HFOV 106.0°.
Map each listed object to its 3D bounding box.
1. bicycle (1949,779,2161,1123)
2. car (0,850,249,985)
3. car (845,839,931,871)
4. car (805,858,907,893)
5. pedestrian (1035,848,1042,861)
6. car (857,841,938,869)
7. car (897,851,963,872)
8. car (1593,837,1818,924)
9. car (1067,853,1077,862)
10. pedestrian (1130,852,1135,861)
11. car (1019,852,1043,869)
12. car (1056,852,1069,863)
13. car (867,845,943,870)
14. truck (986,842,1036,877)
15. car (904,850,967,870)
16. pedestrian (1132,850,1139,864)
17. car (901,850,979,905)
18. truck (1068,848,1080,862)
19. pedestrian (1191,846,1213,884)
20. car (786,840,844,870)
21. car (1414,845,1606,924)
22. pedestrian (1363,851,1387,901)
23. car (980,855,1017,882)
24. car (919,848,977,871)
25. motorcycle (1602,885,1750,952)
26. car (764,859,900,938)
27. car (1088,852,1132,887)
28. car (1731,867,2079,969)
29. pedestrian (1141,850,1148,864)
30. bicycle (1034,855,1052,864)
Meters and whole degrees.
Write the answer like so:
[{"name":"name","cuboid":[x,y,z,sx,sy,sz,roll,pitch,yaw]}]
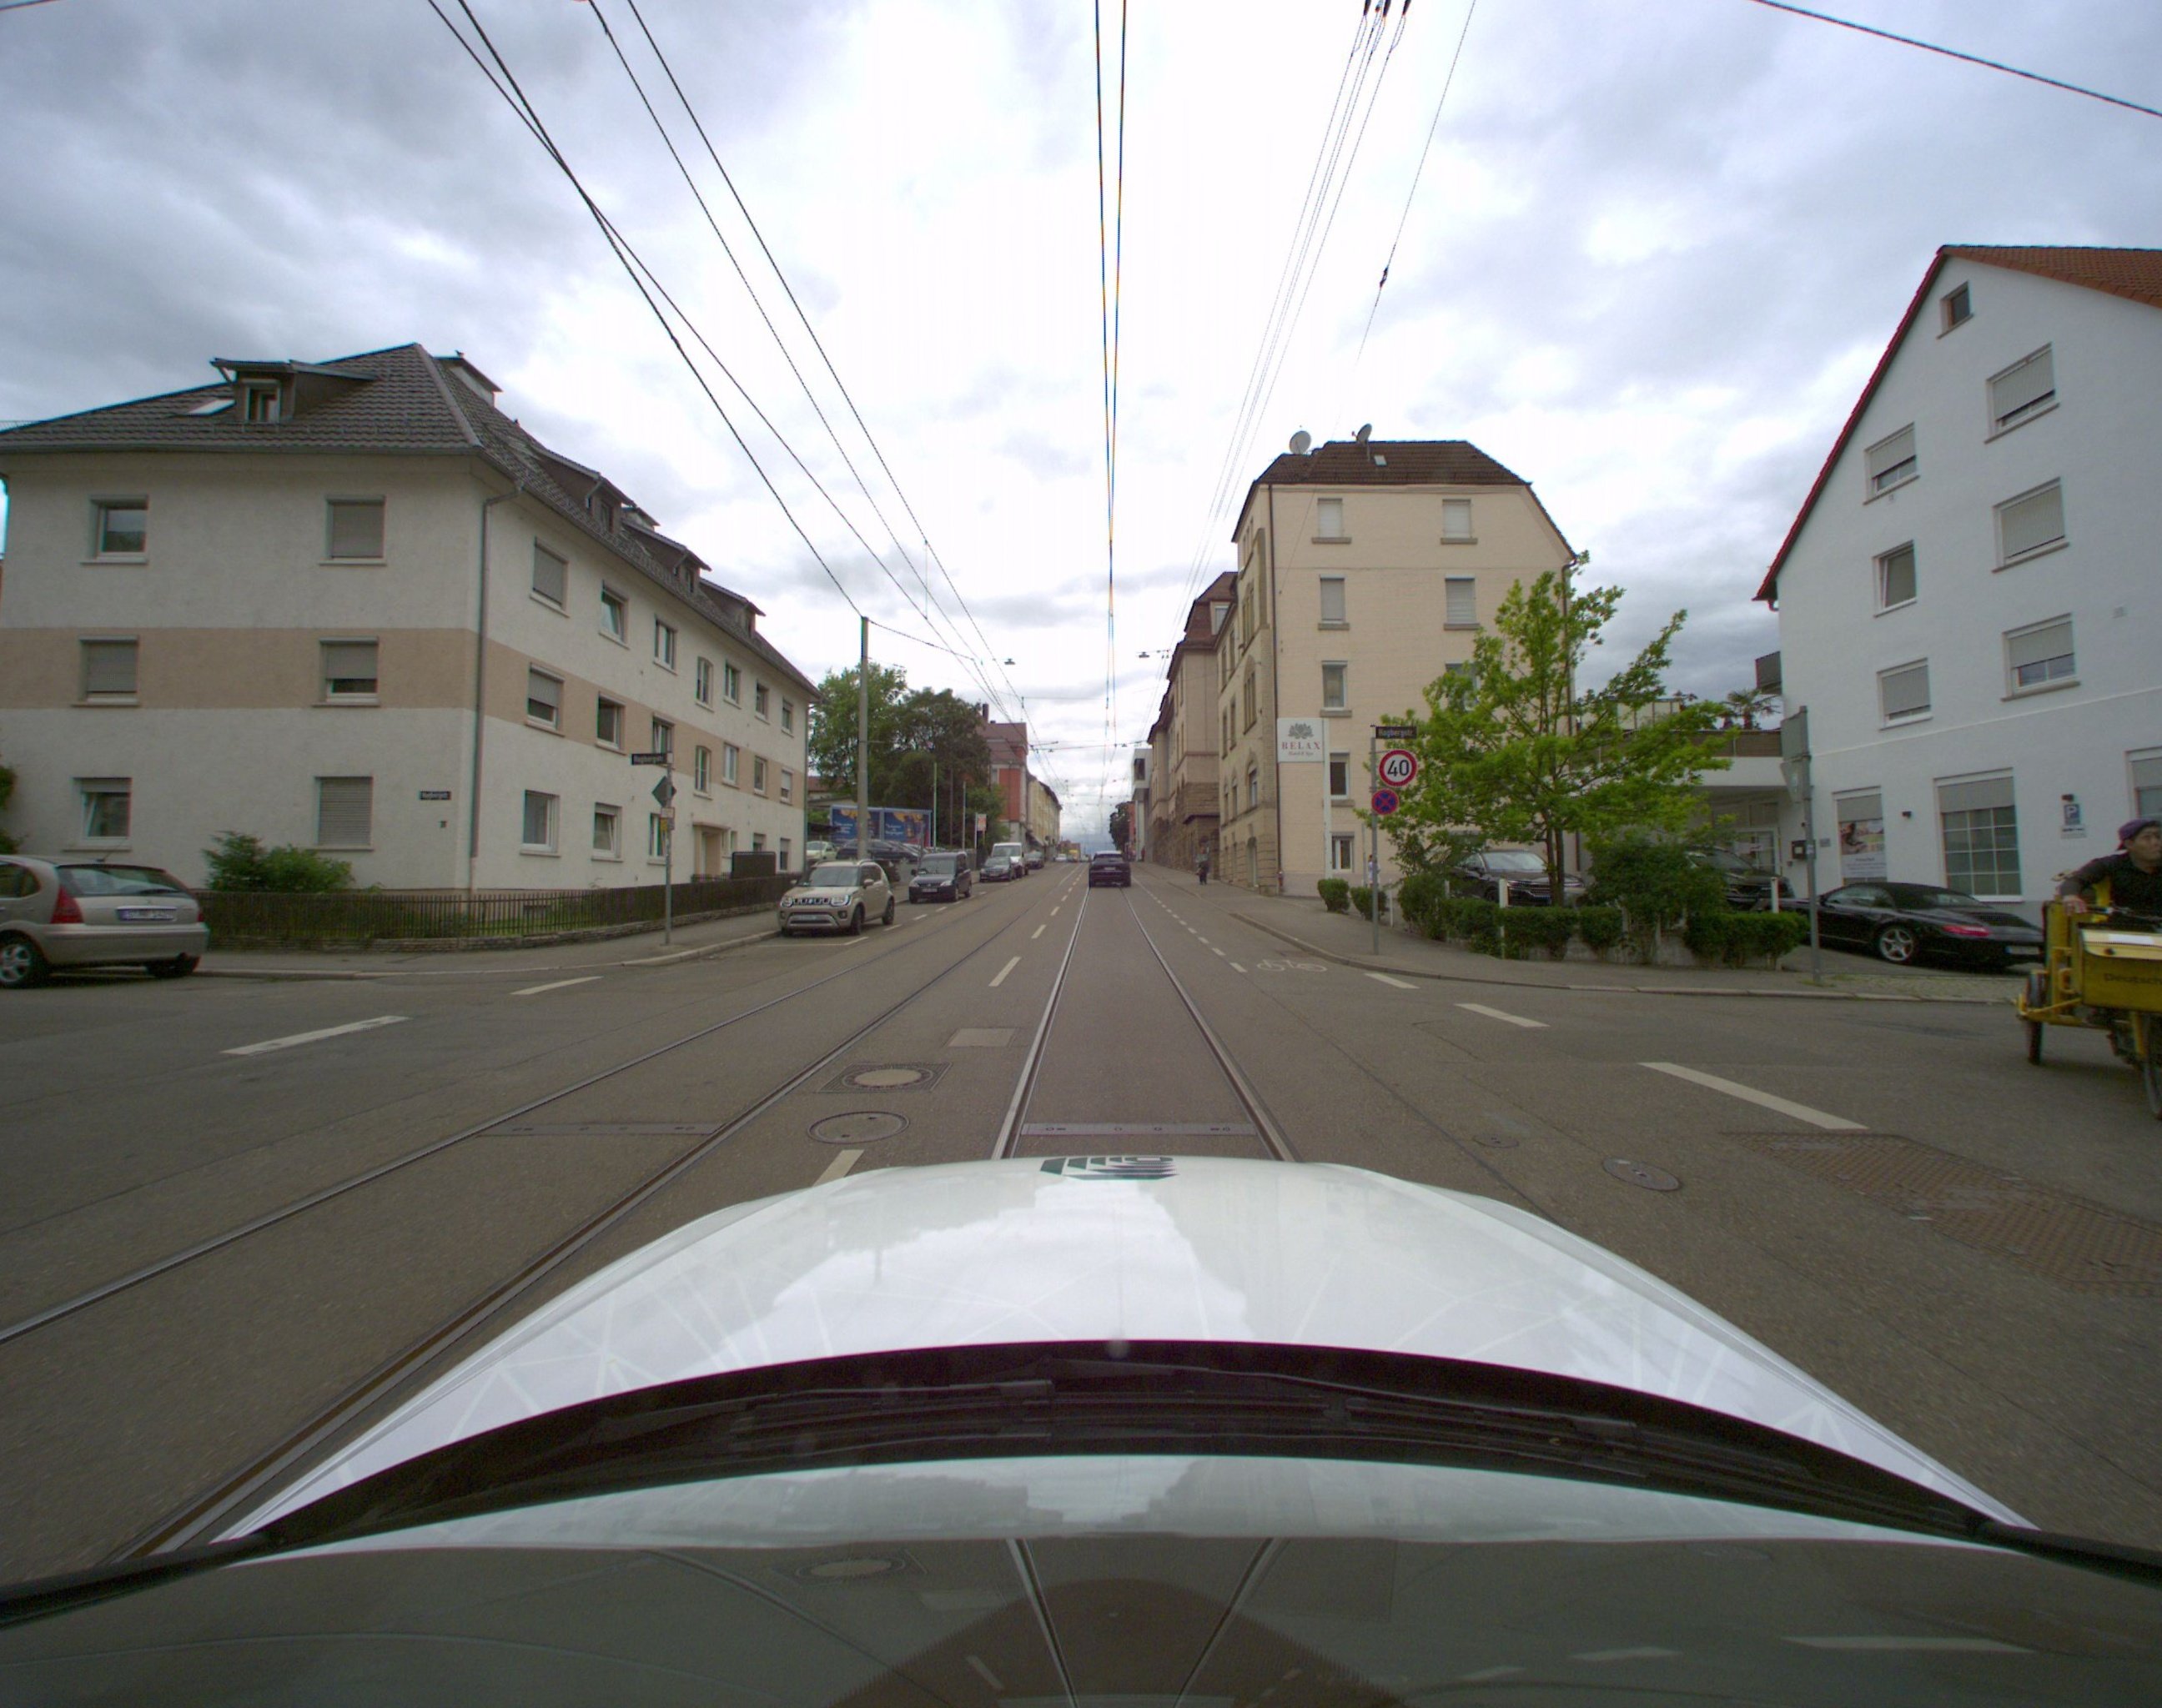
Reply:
[{"name":"bicycle","cuboid":[6.792,0.556,5.436,1.168,1.866,2.745,0,-1,43]},{"name":"car","cuboid":[-12.989,0.769,10.037,3.501,1.493,1.777,1,-5,1]},{"name":"car","cuboid":[-10.114,0.047,42.876,4.046,1.552,1.688,1,0,0]},{"name":"car","cuboid":[-10.937,1.031,39.763,4.324,1.345,1.861,-5,0,0]},{"name":"pedestrian","cuboid":[-5.551,0.046,106.586,0.772,1.776,0.650,0,0,2]},{"name":"car","cuboid":[-10.129,0.064,45.160,4.046,1.524,1.739,0,0,0]},{"name":"car","cuboid":[-9.672,0.460,52.386,3.863,1.357,1.688,0,0,0]},{"name":"car","cuboid":[15.110,0.568,20.121,1.987,1.911,4.703,0,0,0]},{"name":"car","cuboid":[-1.665,0.718,155.059,1.848,1.607,4.298,0,0,1]},{"name":"pedestrian","cuboid":[9.164,0.467,144.313,0.788,1.667,0.799,0,0,3]},{"name":"car","cuboid":[-4.234,0.534,69.668,1.706,1.446,4.291,0,0,2]},{"name":"car","cuboid":[-2.780,0.458,122.630,1.848,1.607,4.298,0,0,1]},{"name":"car","cuboid":[-10.230,0.187,47.512,4.046,1.445,1.688,0,0,0]},{"name":"truck","cuboid":[-4.573,0.304,54.468,2.271,2.188,8.030,0,0,2]},{"name":"car","cuboid":[-9.792,0.389,54.952,3.863,1.357,1.688,0,0,0]},{"name":"pedestrian","cuboid":[6.260,0.358,94.119,0.788,1.667,0.799,0,0,3]},{"name":"car","cuboid":[-4.985,0.775,29.332,1.737,1.735,4.522,-2,0,3]},{"name":"truck","cuboid":[-1.572,0.235,175.993,2.294,3.036,9.035,0,0,1]},{"name":"pedestrian","cuboid":[5.612,0.503,37.791,0.868,1.686,0.663,-2,0,-1]},{"name":"car","cuboid":[-14.224,0.042,43.799,1.676,1.494,3.891,0,0,2]},{"name":"car","cuboid":[10.187,0.633,19.886,1.987,1.682,5.093,0,0,-1]},{"name":"pedestrian","cuboid":[9.462,0.695,26.198,0.556,1.582,0.686,0,0,2]},{"name":"car","cuboid":[-4.758,0.803,47.413,1.691,1.433,4.480,-2,0,0]},{"name":"car","cuboid":[-9.418,0.367,57.753,3.965,1.551,1.680,0,0,-14]},{"name":"motorcycle","cuboid":[10.763,1.164,14.885,0.924,1.105,2.383,1,-4,0]},{"name":"car","cuboid":[-5.439,0.906,18.313,1.690,1.556,3.853,0,0,3]},{"name":"car","cuboid":[1.402,0.697,39.095,1.986,1.563,4.291,0,0,2]},{"name":"car","cuboid":[14.422,1.020,14.707,1.904,1.354,4.326,1,2,0]},{"name":"pedestrian","cuboid":[7.296,0.339,94.076,0.788,1.667,0.799,0,0,3]},{"name":"bicycle","cuboid":[-4.333,0.603,92.966,1.904,1.000,0.479,0,0,1]}]
